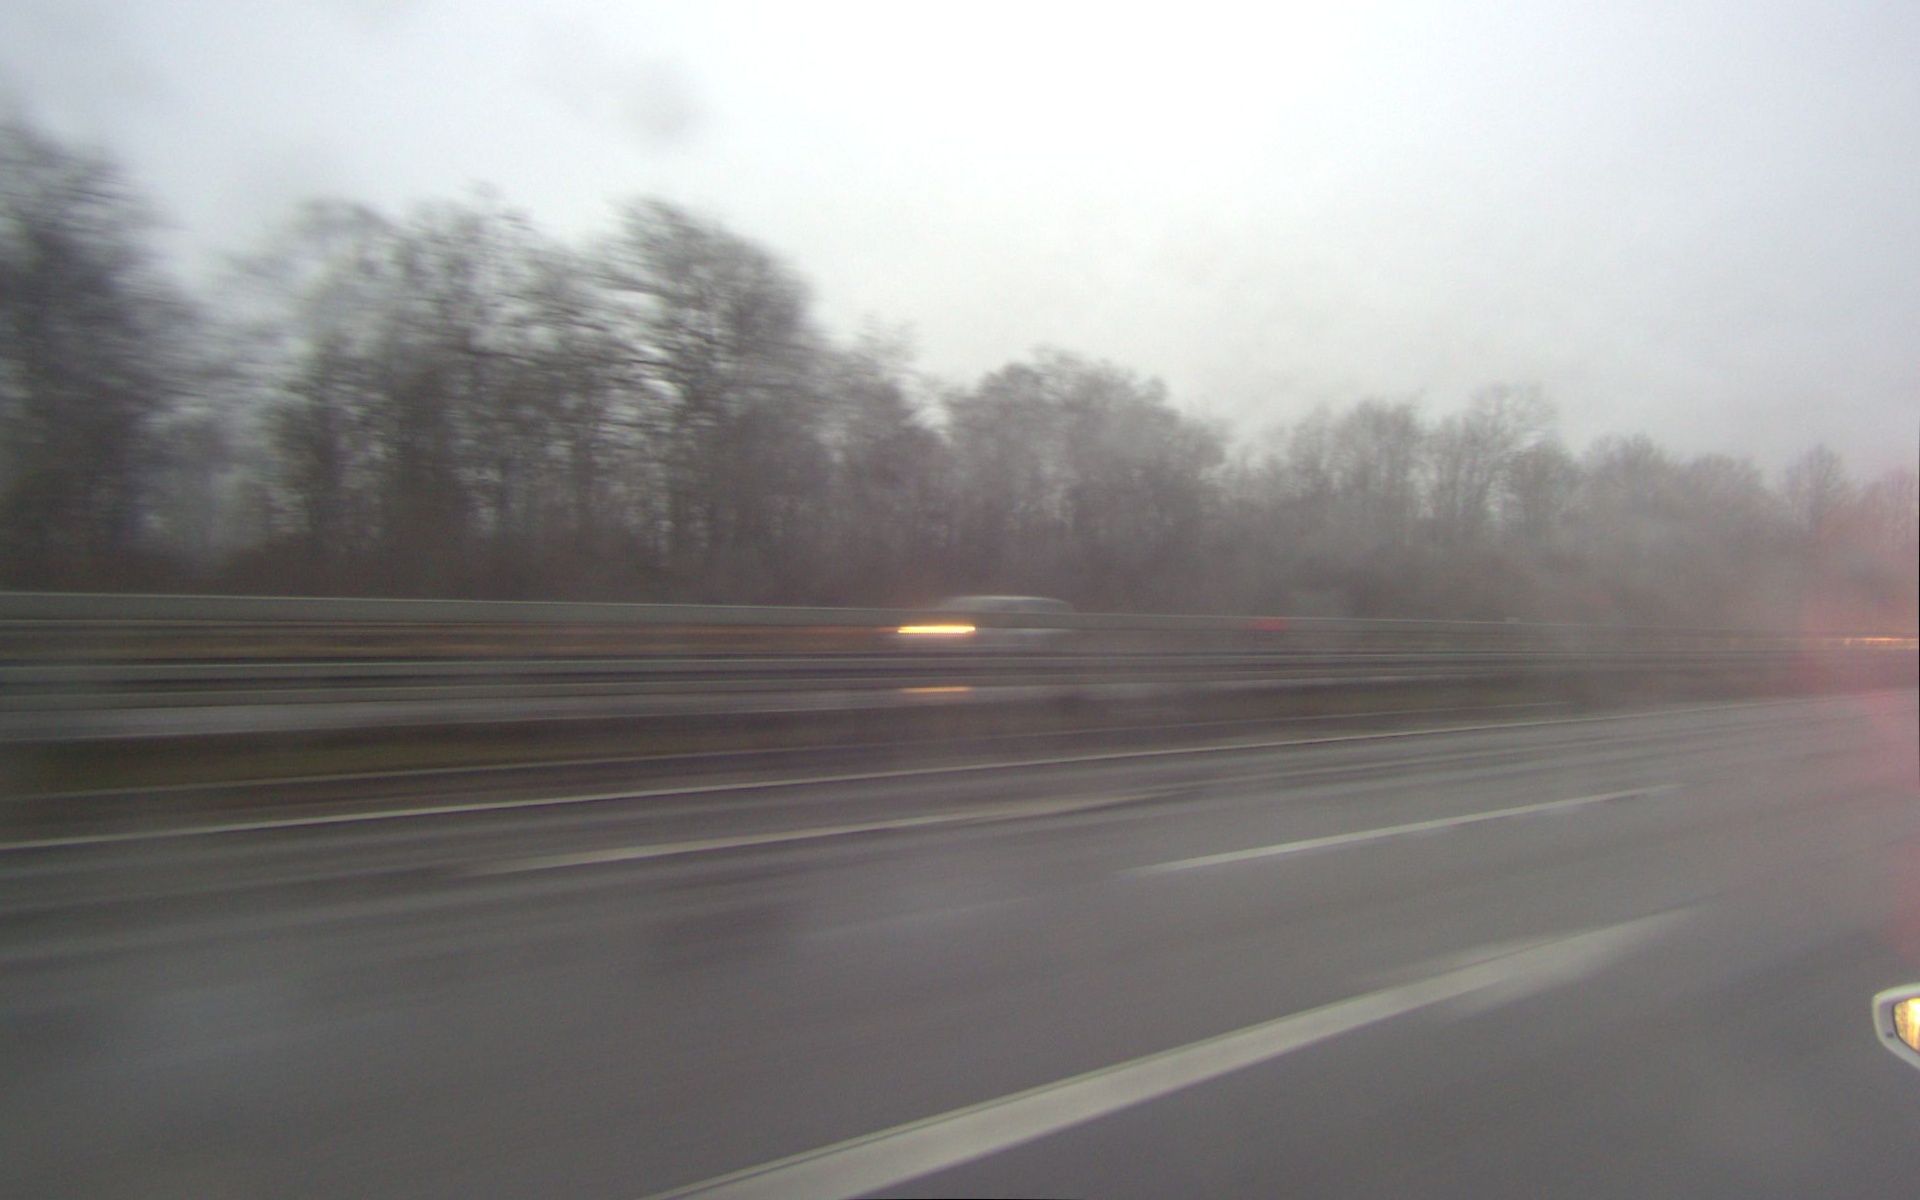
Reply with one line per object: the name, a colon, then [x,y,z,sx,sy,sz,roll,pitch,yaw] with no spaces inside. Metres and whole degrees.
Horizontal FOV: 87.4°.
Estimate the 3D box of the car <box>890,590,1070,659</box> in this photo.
car: [0.492,0.577,23.908,3.953,1.507,1.734,1,1,-31]
